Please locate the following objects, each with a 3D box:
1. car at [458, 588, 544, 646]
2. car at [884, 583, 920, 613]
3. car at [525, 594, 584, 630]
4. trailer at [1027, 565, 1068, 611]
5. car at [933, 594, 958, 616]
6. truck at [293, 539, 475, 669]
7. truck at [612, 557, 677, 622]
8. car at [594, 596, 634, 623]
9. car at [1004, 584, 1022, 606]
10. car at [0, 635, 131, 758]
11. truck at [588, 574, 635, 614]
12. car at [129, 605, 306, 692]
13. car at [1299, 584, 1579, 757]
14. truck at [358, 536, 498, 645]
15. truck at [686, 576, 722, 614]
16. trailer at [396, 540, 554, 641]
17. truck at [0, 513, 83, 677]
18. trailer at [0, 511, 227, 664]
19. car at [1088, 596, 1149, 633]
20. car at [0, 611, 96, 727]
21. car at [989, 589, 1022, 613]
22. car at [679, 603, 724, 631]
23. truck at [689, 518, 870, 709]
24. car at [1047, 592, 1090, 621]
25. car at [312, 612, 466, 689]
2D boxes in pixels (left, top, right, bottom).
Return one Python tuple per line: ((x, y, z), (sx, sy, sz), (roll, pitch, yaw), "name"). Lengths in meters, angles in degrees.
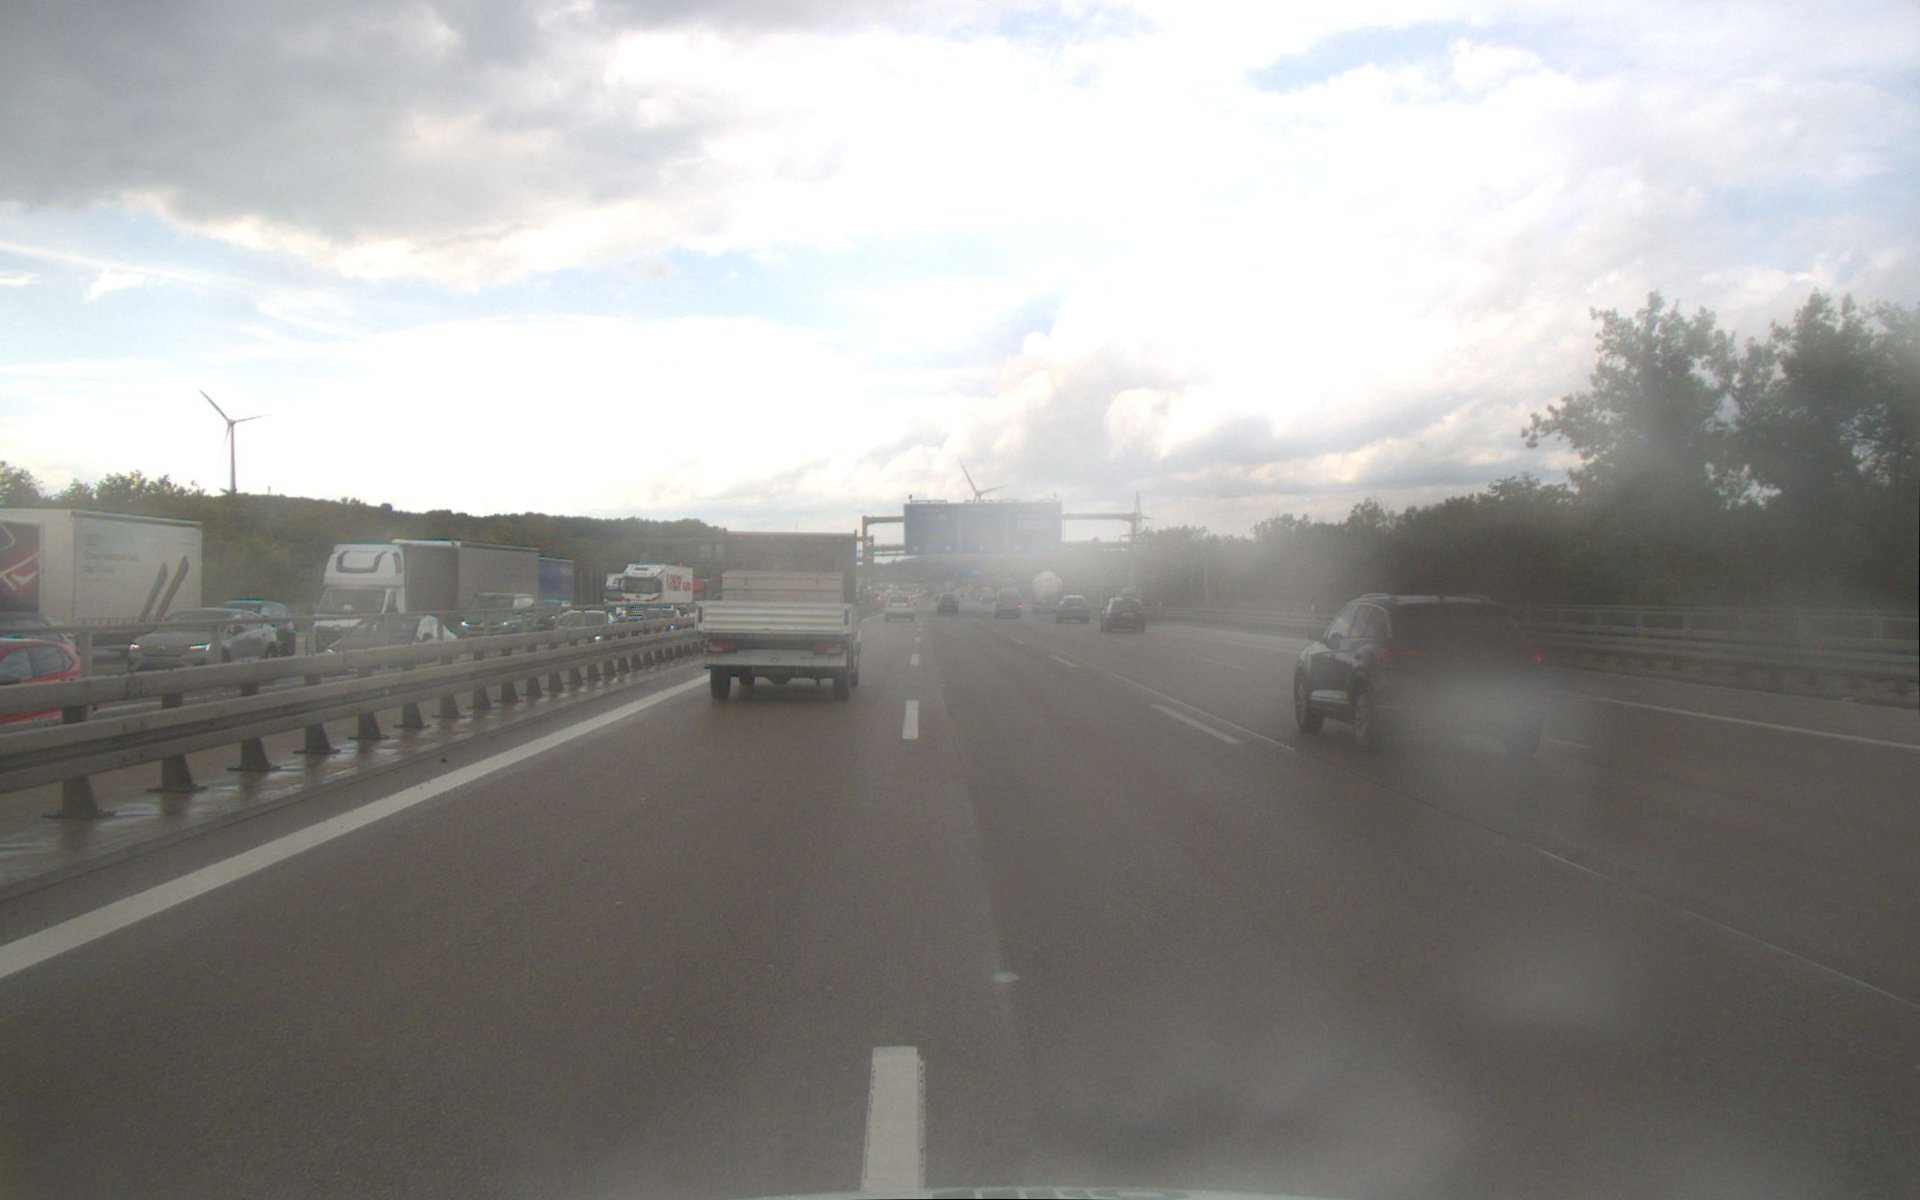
((-17.400, 0.602, 62.955), (1.784, 2.088, 5.674), (0, 0, -1), "car")
((-3.420, -0.134, 98.229), (2.003, 1.729, 4.000), (0, 0, -1), "car")
((-20.955, 0.607, 85.704), (1.928, 1.778, 4.574), (0, 1, 0), "car")
((8.414, -1.153, 159.936), (3.265, 4.249, 11.837), (1, 0, 0), "trailer")
((-1.237, 0.415, 140.003), (2.003, 1.729, 3.999), (0, 0, -1), "car")
((-16.754, 0.078, 48.776), (2.468, 3.458, 8.539), (-1, 0, -1), "truck")
((-21.631, -0.757, 113.774), (3.113, 4.267, 7.736), (0, 1, -1), "truck")
((-21.138, 0.545, 101.206), (1.612, 1.572, 4.000), (0, 1, 0), "car")
((6.162, -0.588, 192.897), (2.003, 2.541, 4.000), (0, 0, -1), "car")
((-12.251, 1.195, 20.736), (1.541, 1.377, 4.383), (-1, 0, -1), "car")
((-27.546, -0.512, 130.975), (2.466, 3.038, 7.019), (-1, 0, -2), "truck")
((-16.339, 0.999, 36.705), (1.685, 1.729, 5.054), (-1, 0, -1), "car")
((4.835, 0.656, 17.226), (1.756, 1.590, 3.720), (1, 0, -2), "car")
((-20.929, -0.369, 65.569), (3.134, 4.002, 7.572), (1, 0, -1), "truck")
((-25.078, -0.500, 162.211), (2.414, 3.598, 7.806), (0, 1, -1), "truck")
((-20.945, -0.396, 72.486), (3.178, 4.002, 13.013), (1, 0, -1), "trailer")
((-24.756, -0.138, 38.630), (3.160, 3.978, 10.279), (1, 0, -1), "truck")
((-24.885, -0.359, 48.204), (3.153, 4.028, 8.848), (1, 0, -1), "trailer")
((7.330, 0.658, 76.867), (2.063, 1.633, 5.062), (0, 0, -4), "car")
((-15.815, 1.104, 26.150), (1.685, 1.758, 5.103), (-1, 0, -1), "car")
((3.350, 0.047, 121.941), (2.056, 1.729, 3.997), (0, 0, -4), "car")
((-13.633, 0.902, 87.449), (1.685, 1.377, 4.625), (-1, 0, -1), "car")
((-2.578, 0.148, 25.195), (2.306, 2.450, 7.353), (1, 0, -4), "truck")
((6.619, 0.368, 101.437), (2.005, 1.729, 5.003), (0, 0, -4), "car")
((-12.947, 1.091, 37.889), (1.685, 1.529, 5.501), (-1, 0, -1), "car")
